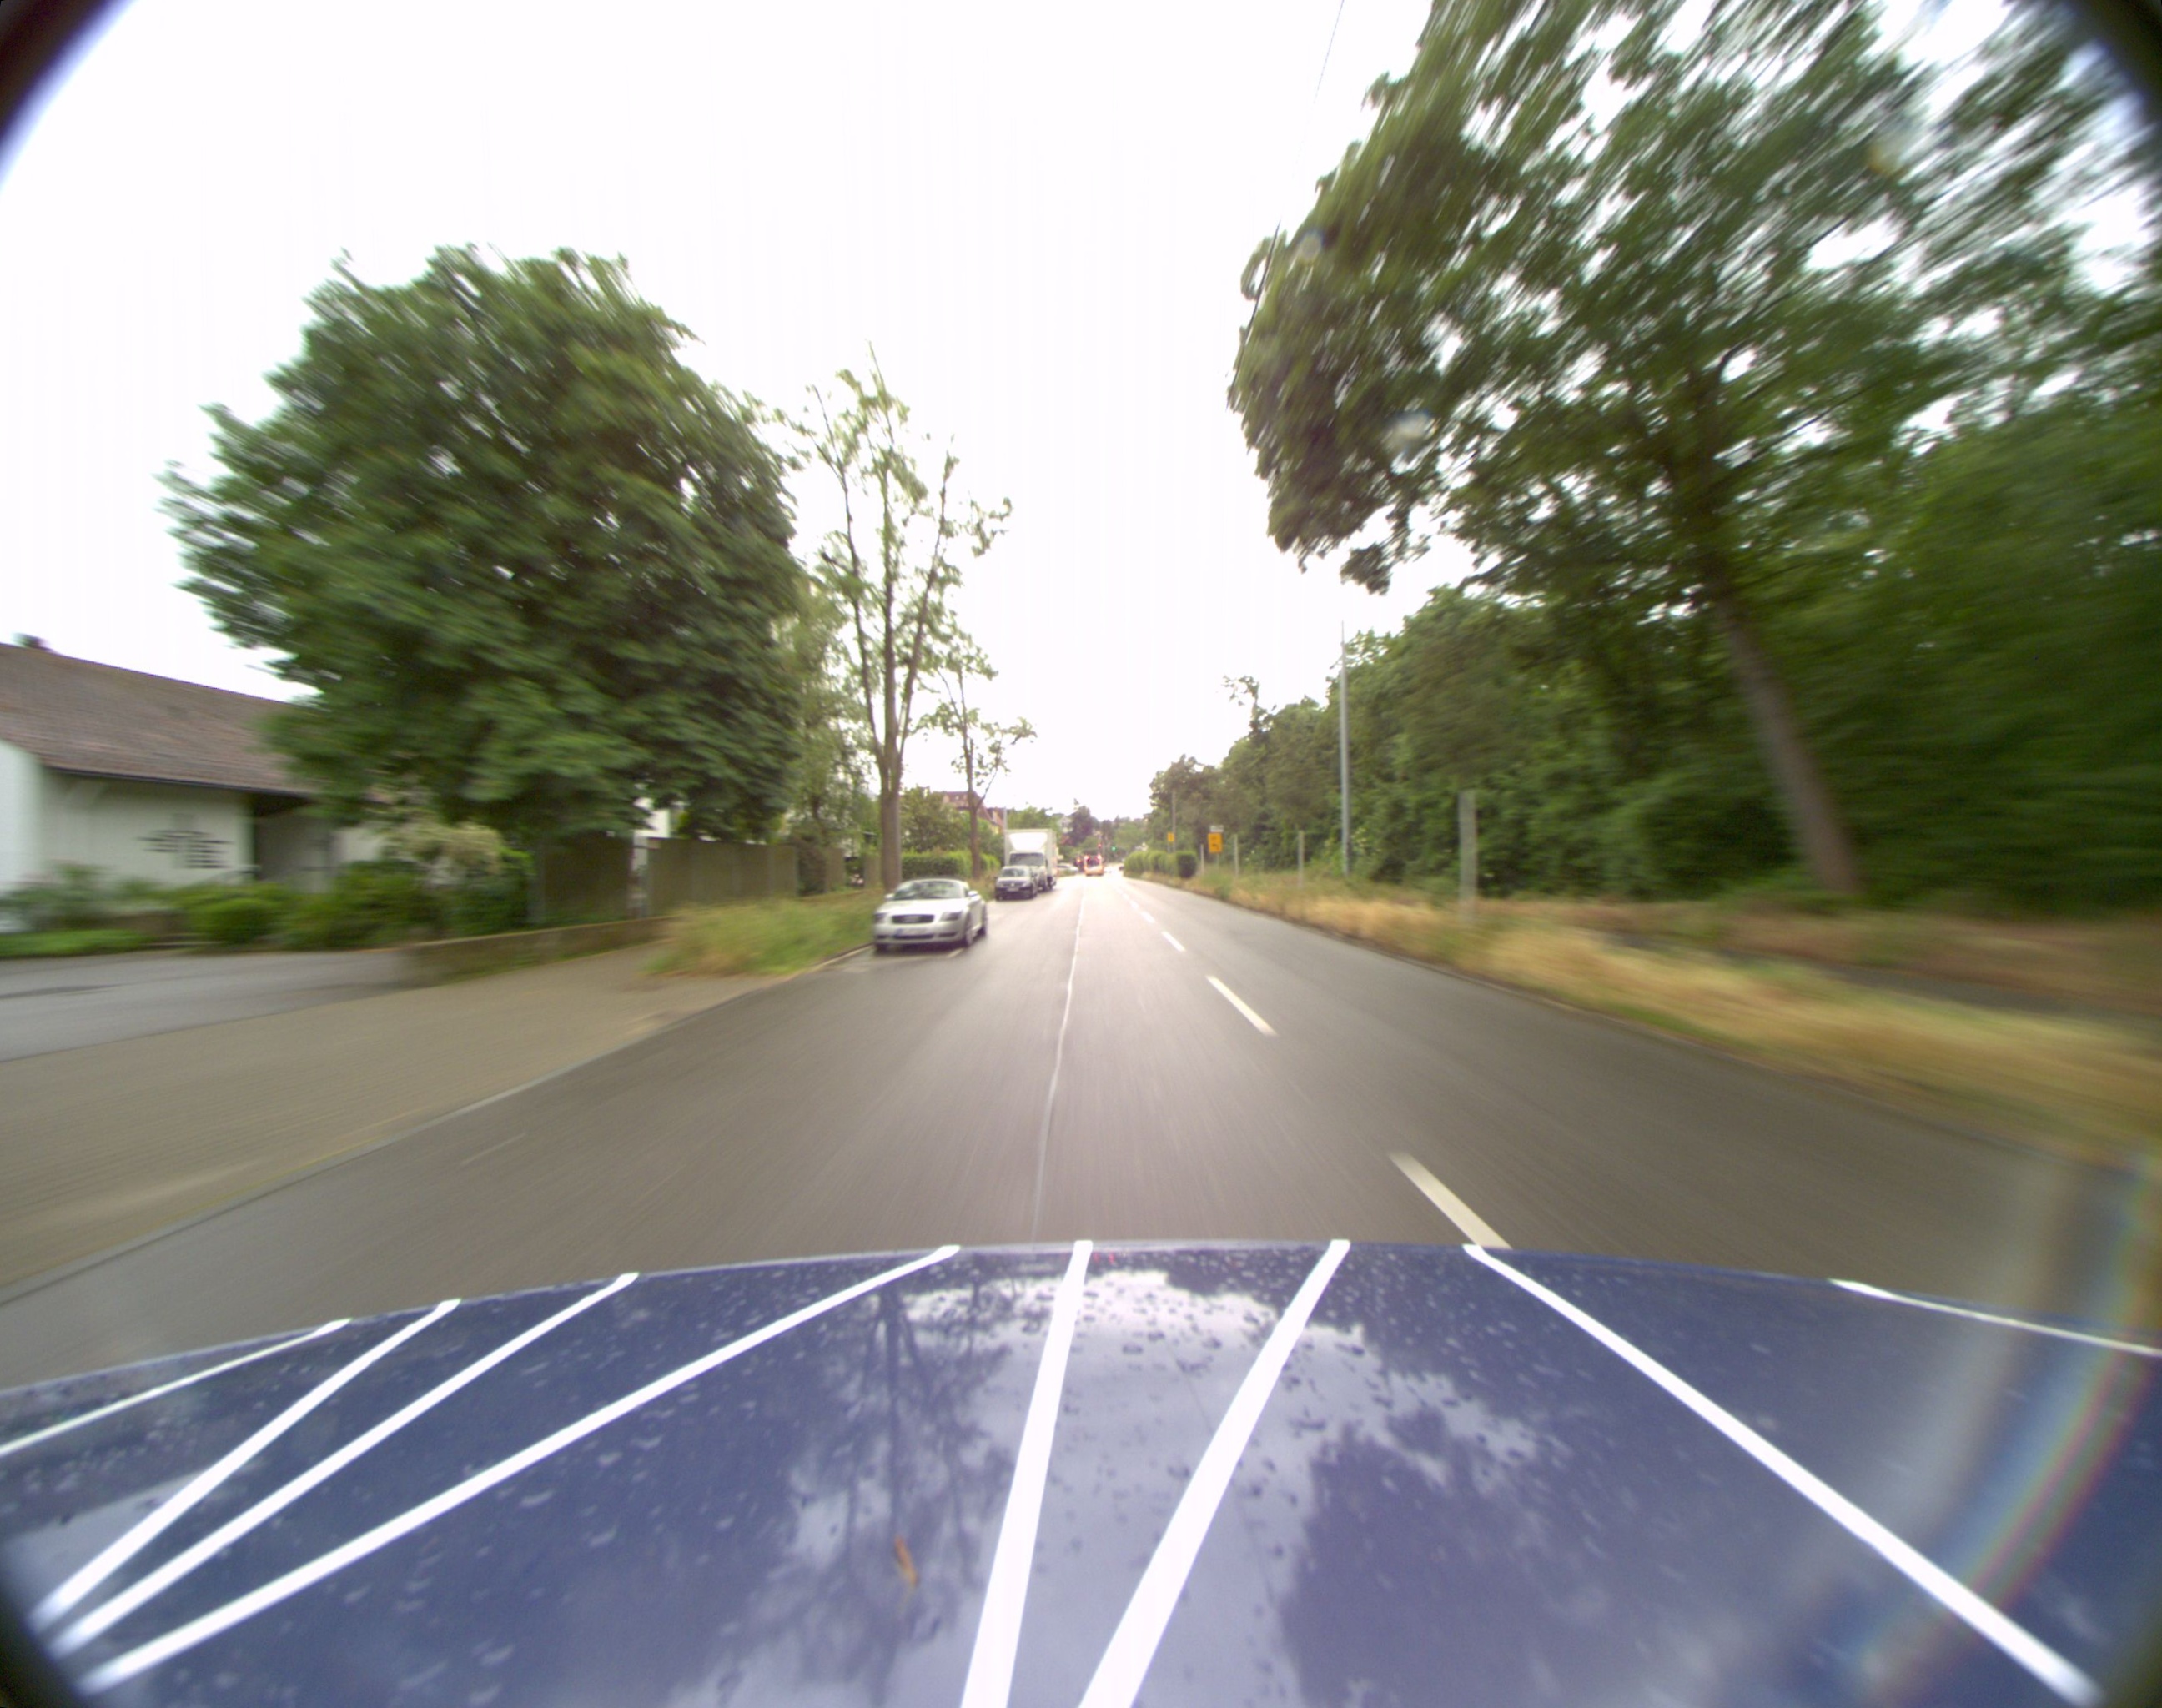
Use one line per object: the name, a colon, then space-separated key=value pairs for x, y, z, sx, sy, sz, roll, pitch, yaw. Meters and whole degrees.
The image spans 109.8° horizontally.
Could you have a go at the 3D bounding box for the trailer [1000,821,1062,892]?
trailer: x=-2.697 y=0.164 z=43.247 sx=2.741 sy=3.487 sz=8.248 roll=-3 pitch=0 yaw=0

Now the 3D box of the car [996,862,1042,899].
car: x=-2.722 y=1.152 z=34.181 sx=1.645 sy=1.455 sz=4.000 roll=-3 pitch=0 yaw=1

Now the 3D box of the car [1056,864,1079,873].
car: x=-3.190 y=3.367 z=180.626 sx=5.049 sy=1.967 sz=2.001 roll=-3 pitch=0 yaw=5

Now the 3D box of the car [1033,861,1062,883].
car: x=-2.352 y=1.259 z=54.556 sx=1.800 sy=1.465 sz=4.548 roll=-3 pitch=0 yaw=0

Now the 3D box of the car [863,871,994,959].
car: x=-2.882 y=1.103 z=15.229 sx=1.786 sy=1.387 sz=4.000 roll=-3 pitch=0 yaw=0

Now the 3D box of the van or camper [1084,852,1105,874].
van or camper: x=2.159 y=1.347 z=118.383 sx=2.862 sy=3.159 sz=6.852 roll=-3 pitch=0 yaw=3
